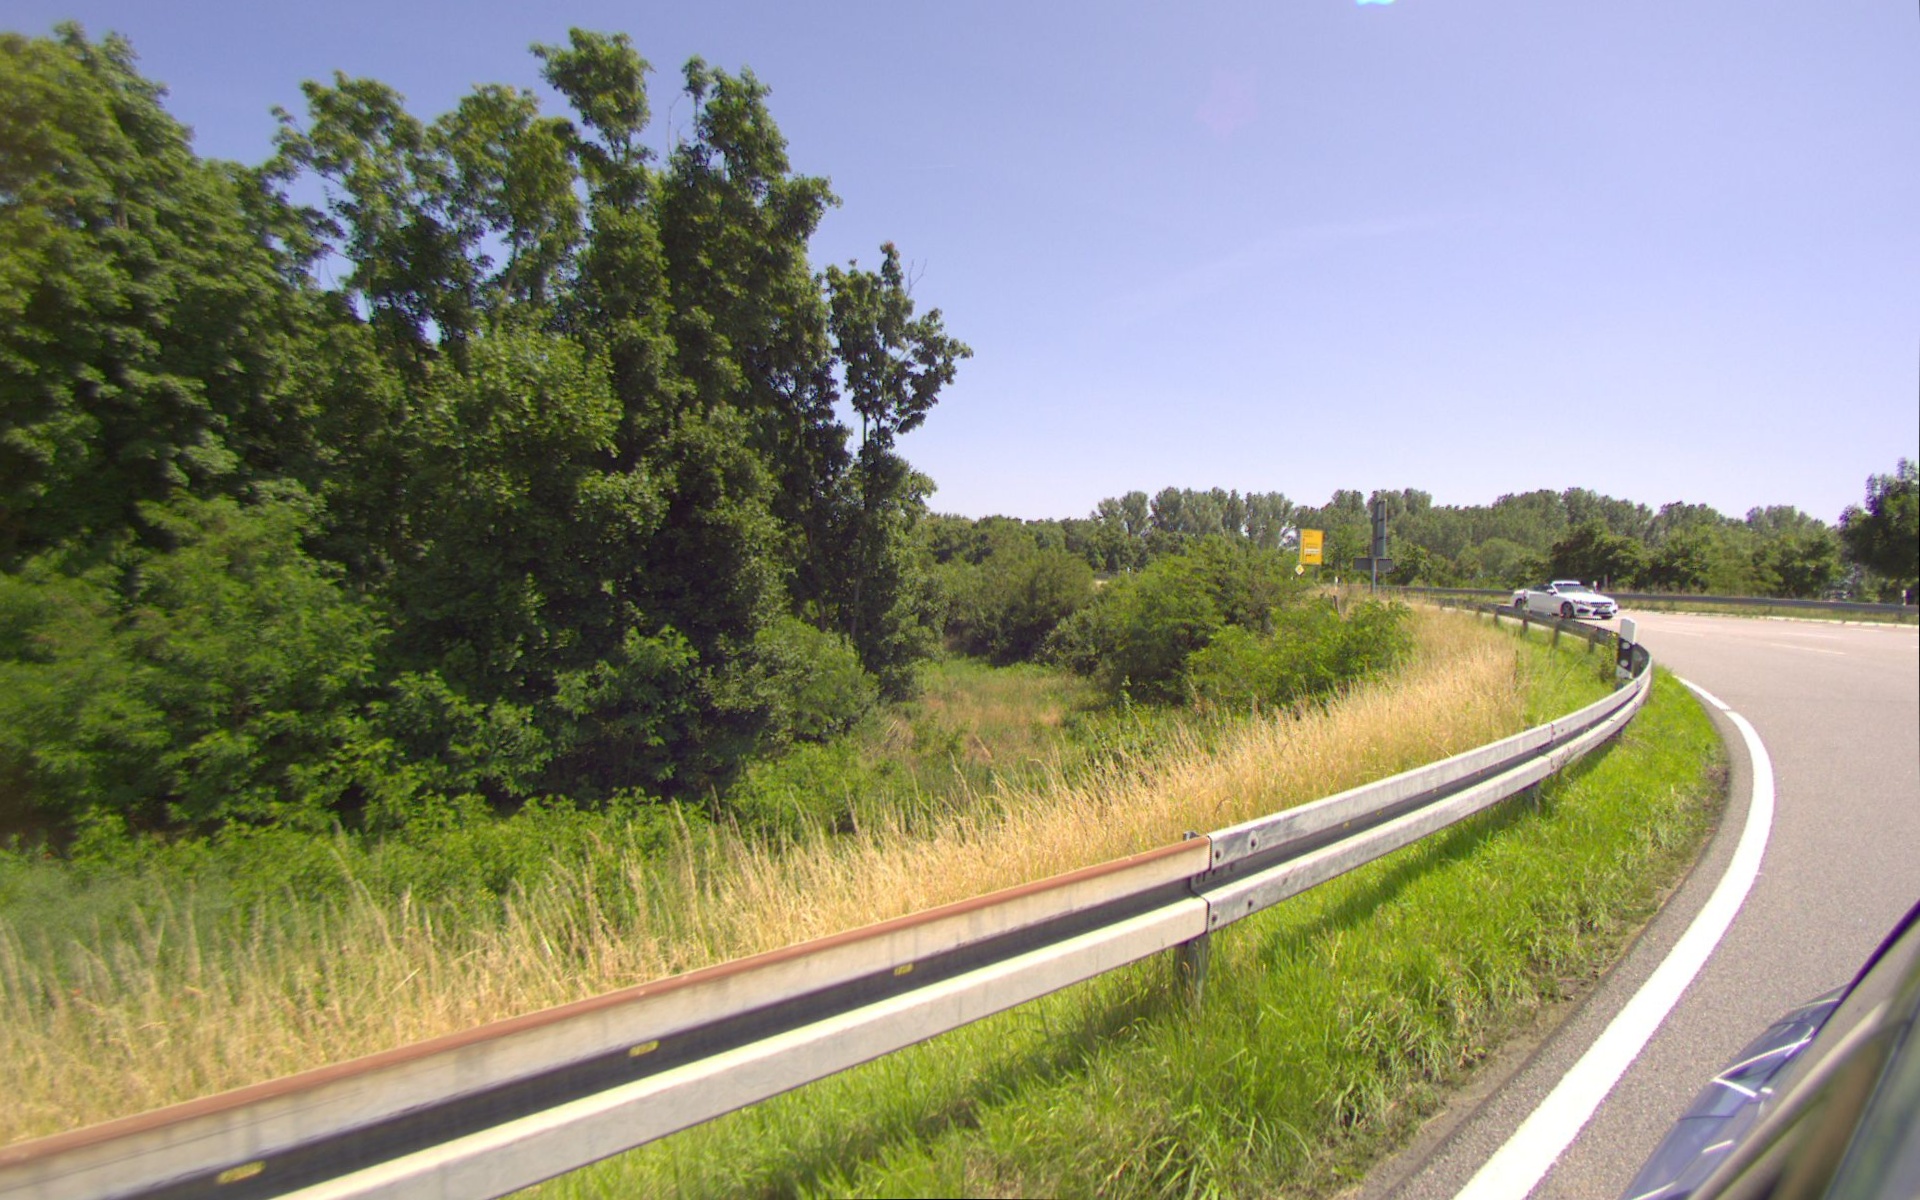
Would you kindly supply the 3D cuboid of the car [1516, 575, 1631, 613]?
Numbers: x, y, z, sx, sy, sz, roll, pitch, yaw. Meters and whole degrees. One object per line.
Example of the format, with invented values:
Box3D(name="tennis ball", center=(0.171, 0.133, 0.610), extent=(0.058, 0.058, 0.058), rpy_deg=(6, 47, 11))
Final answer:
Box3D(name="car", center=(24.444, -0.257, 40.512), extent=(1.778, 1.433, 4.115), rpy_deg=(-1, 1, -6))
